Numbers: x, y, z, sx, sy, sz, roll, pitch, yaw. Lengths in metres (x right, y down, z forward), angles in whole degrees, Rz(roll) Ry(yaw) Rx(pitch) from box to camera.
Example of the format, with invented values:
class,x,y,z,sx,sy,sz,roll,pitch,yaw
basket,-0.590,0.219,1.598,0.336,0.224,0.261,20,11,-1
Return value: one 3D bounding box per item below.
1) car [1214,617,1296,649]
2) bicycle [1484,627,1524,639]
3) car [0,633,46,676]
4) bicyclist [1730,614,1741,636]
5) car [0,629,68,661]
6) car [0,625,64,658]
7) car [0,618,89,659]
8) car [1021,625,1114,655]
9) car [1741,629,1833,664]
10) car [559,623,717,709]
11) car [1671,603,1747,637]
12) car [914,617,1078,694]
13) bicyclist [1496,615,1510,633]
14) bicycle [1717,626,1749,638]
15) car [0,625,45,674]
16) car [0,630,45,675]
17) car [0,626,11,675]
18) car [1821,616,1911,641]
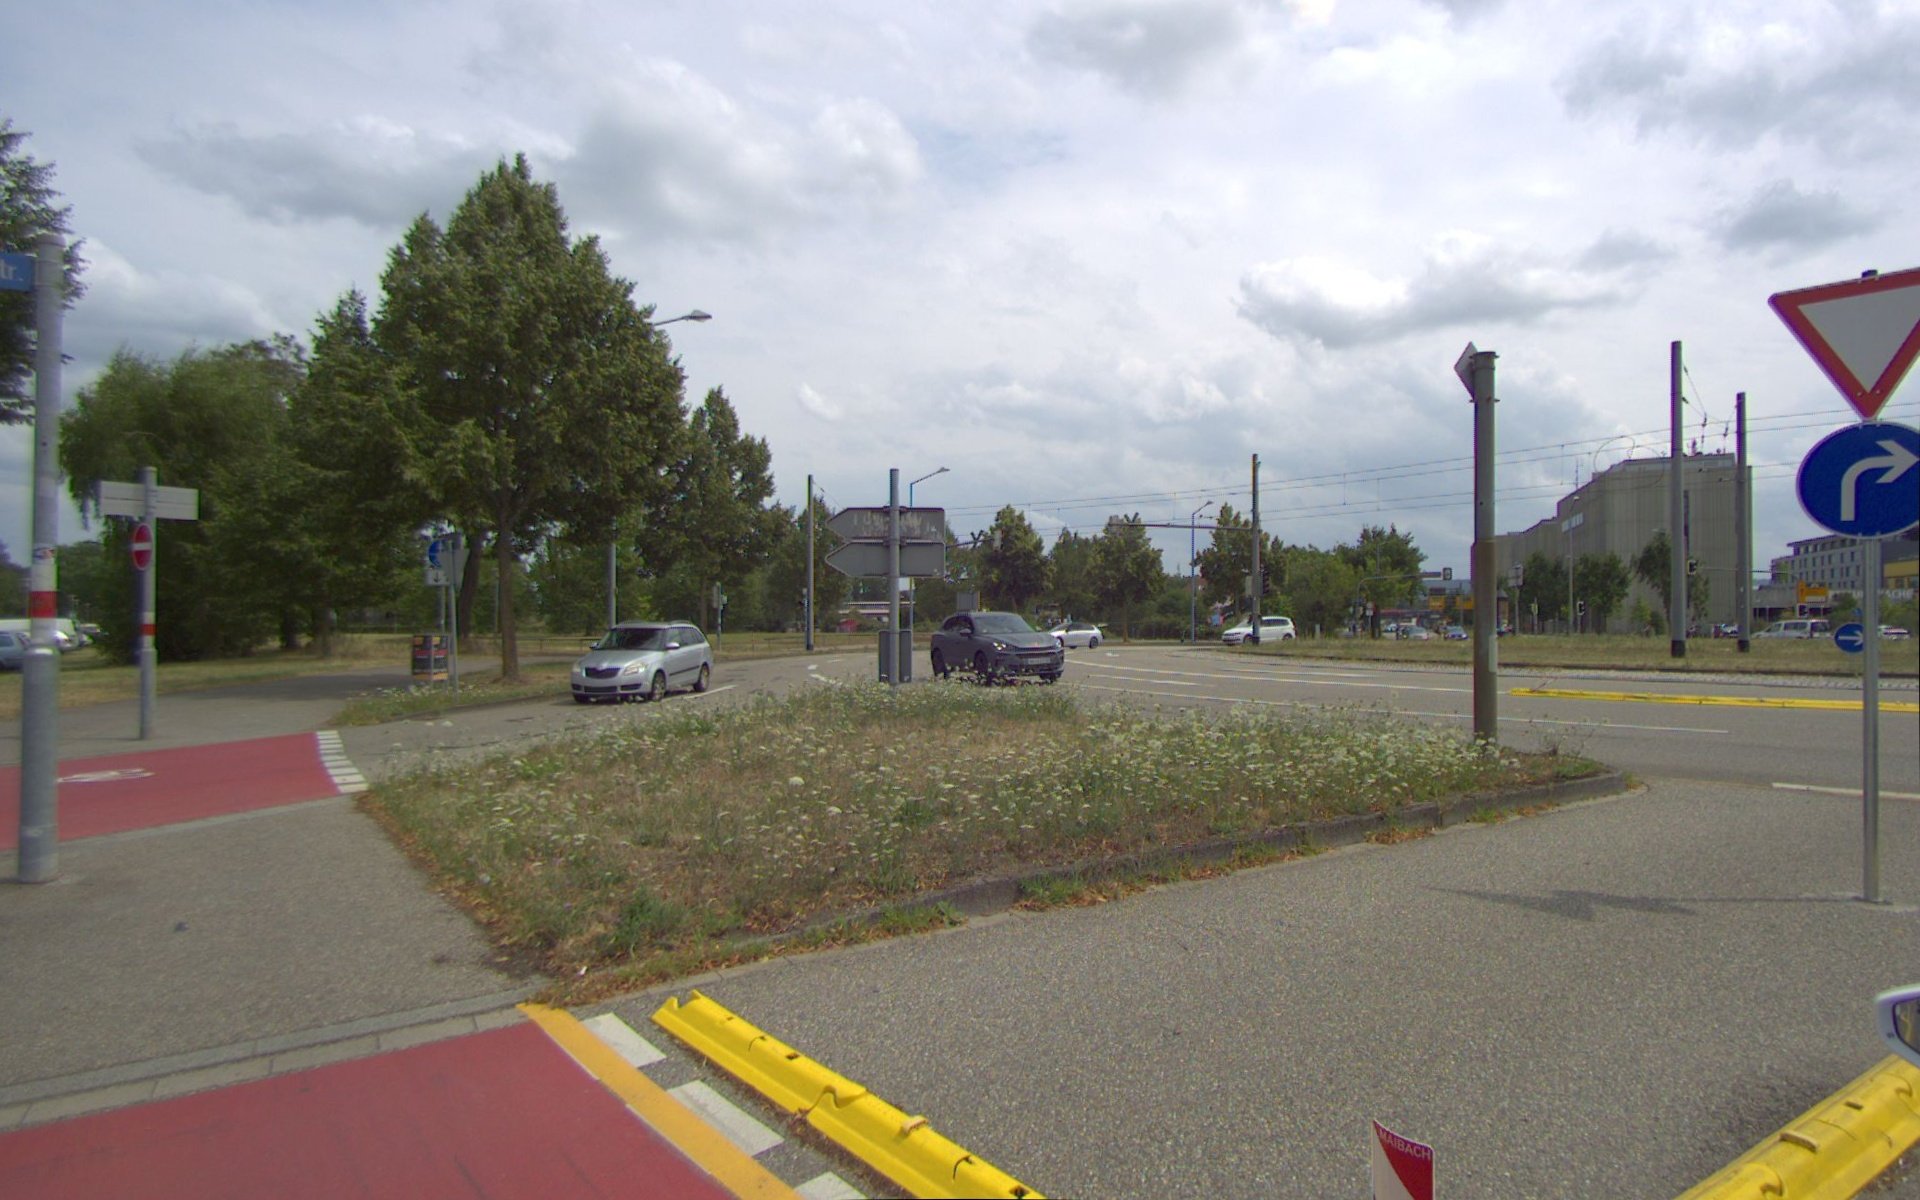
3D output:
class,x,y,z,sx,sy,sz,roll,pitch,yaw
car,16.990,1.882,57.855,4.294,1.687,1.927,-1,-1,-24
bicycle,42.777,2.588,78.995,2.605,0.866,0.864,0,-1,4
car,-35.406,1.920,35.196,4.847,1.491,1.812,1,-1,-39
bicyclist,57.054,1.827,73.879,0.641,1.579,0.528,-1,-1,40
car,-46.251,2.184,48.760,4.275,1.491,1.812,1,-1,-39
car,-44.642,1.938,46.722,4.275,1.491,1.812,1,-1,-39
car,-49.363,1.996,52.677,5.527,2.083,2.175,1,-1,-41
car,5.867,2.144,54.438,5.139,1.502,1.978,1,-1,-39
car,53.202,2.958,64.732,1.964,2.040,4.355,2,-1,-9
car,-6.304,1.228,20.184,1.596,1.539,4.220,0,-1,4
car,48.074,1.298,64.551,1.960,2.040,4.001,2,-1,1
car,0.708,1.197,23.156,2.036,1.572,4.448,0,-1,-24
bicyclist,42.676,1.887,78.997,0.660,1.428,0.864,0,-1,4
bicycle,56.935,2.333,73.976,1.807,0.889,0.528,-1,-1,40
car,-31.885,1.629,31.482,4.671,1.491,1.811,-2,1,-42
car,-33.826,1.755,33.422,4.847,1.491,1.812,1,-1,-39
car,-30.099,1.557,29.706,1.464,1.442,2.898,-2,0,44
car,57.327,1.778,63.664,1.800,1.483,3.995,2,-1,-8
